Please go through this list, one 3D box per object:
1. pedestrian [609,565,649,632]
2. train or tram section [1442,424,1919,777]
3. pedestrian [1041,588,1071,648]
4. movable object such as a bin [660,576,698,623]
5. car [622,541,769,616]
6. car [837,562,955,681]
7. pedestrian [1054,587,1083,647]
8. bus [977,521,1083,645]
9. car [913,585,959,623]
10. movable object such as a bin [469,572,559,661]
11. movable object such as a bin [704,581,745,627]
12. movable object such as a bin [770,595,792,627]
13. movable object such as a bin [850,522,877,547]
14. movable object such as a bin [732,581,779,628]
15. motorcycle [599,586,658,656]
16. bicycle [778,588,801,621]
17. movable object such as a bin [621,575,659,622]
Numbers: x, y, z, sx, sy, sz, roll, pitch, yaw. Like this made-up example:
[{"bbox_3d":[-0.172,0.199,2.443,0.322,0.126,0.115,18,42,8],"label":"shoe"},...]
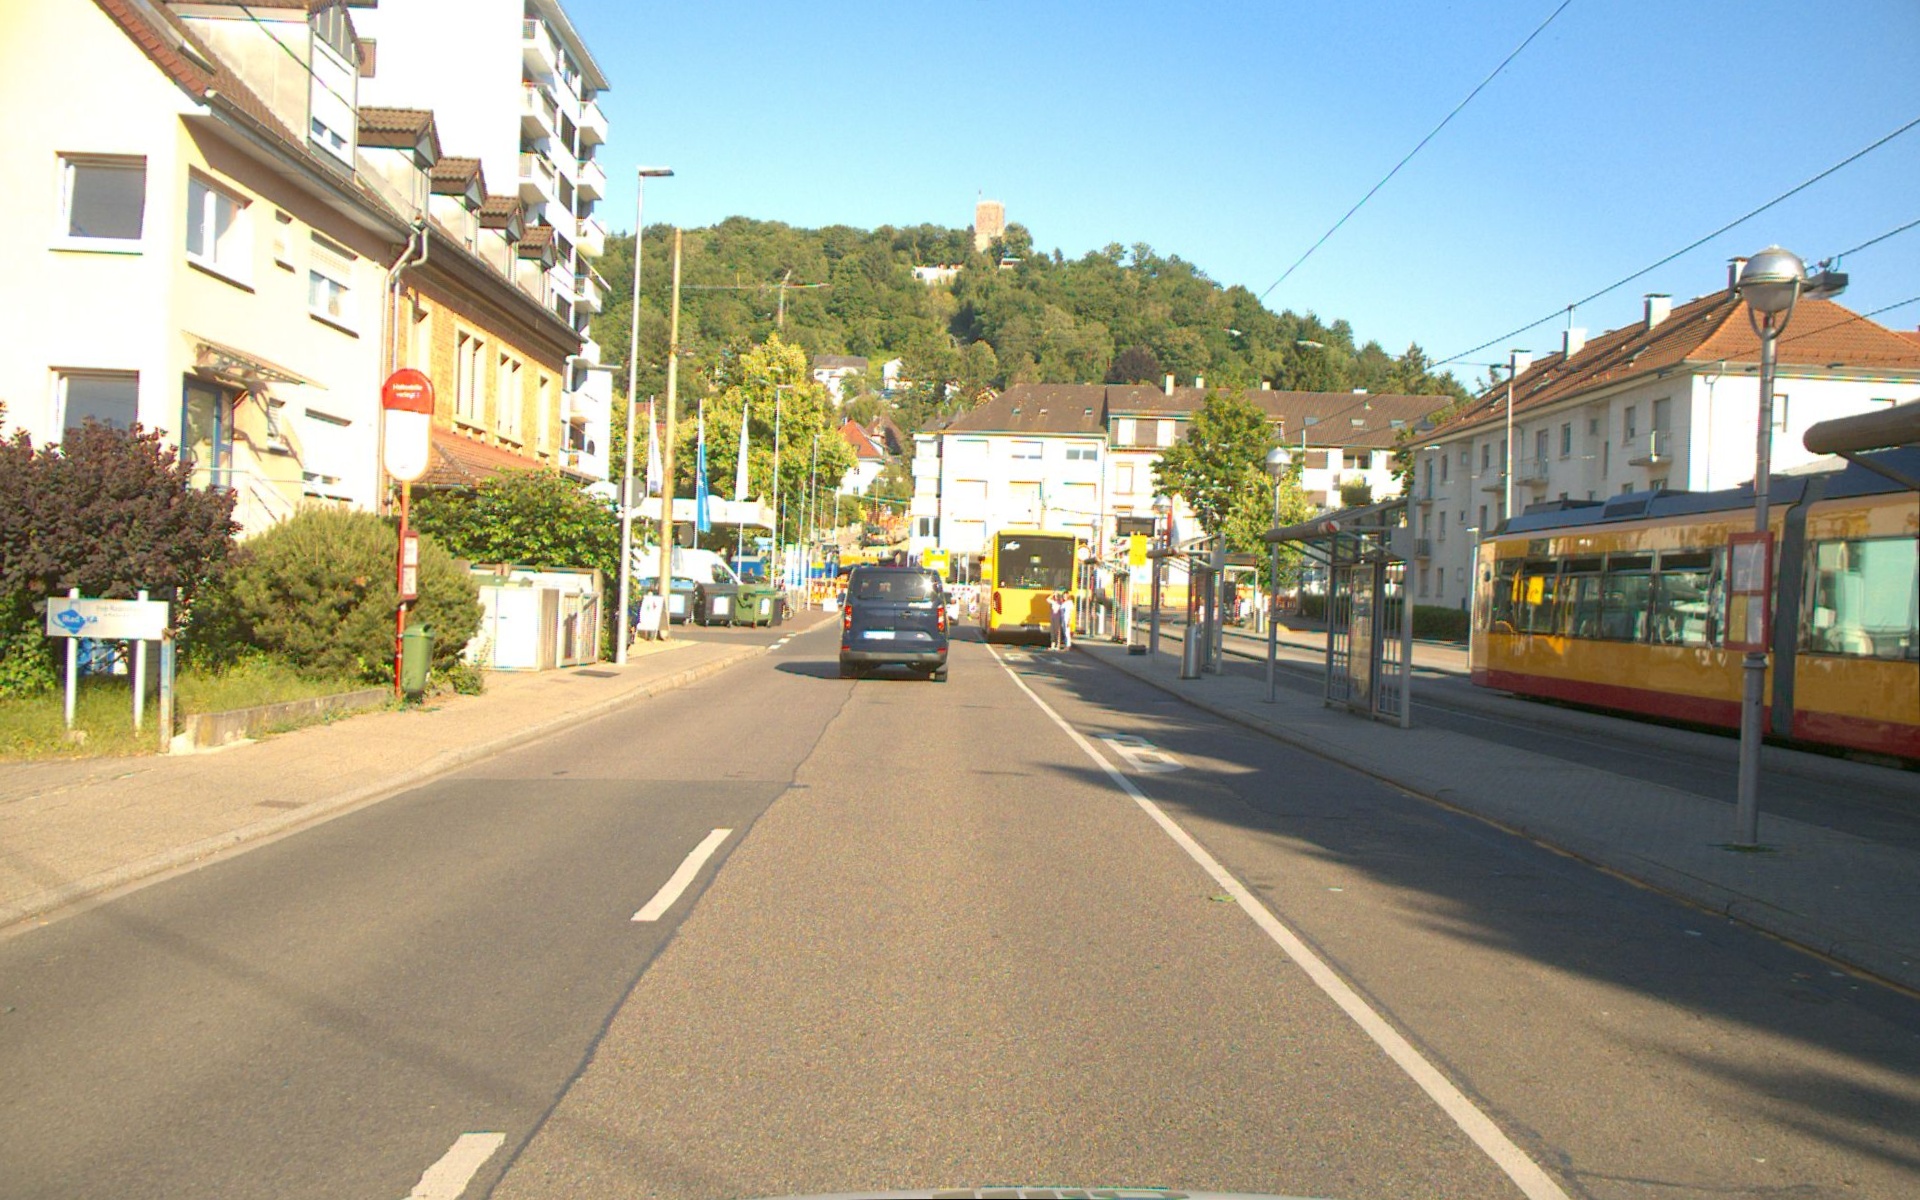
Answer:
[{"bbox_3d":[-9.658,-0.050,48.252,0.805,1.900,0.791,2,1,41],"label":"pedestrian"},{"bbox_3d":[11.075,0.076,24.534,2.897,3.596,15.965,1,0,-1],"label":"train or tram section"},{"bbox_3d":[2.675,0.509,46.129,0.540,1.641,0.627,2,0,-38],"label":"pedestrian"},{"bbox_3d":[-9.457,-0.025,55.698,1.194,1.508,0.703,2,3,-6],"label":"movable object such as a bin"},{"bbox_3d":[-9.815,-0.795,61.365,4.986,2.512,2.094,2,0,-23],"label":"car"},{"bbox_3d":[-1.143,0.353,30.930,2.020,2.049,4.999,0,0,-1],"label":"car"},{"bbox_3d":[2.990,0.474,45.723,0.540,1.641,0.542,2,0,-38],"label":"pedestrian"},{"bbox_3d":[2.068,-0.584,53.180,2.634,3.475,12.017,2,1,-1],"label":"bus"},{"bbox_3d":[-0.953,0.152,66.898,1.758,1.434,3.999,2,0,-1],"label":"car"},{"bbox_3d":[-7.582,0.269,28.154,1.282,1.454,0.991,2,0,-5],"label":"movable object such as a bin"},{"bbox_3d":[-7.985,0.139,56.067,1.205,1.508,0.697,0,4,-30],"label":"movable object such as a bin"},{"bbox_3d":[-6.361,0.379,58.742,0.626,1.088,0.581,3,4,11],"label":"movable object such as a bin"},{"bbox_3d":[-11.013,-7.484,189.265,2.144,2.737,4.004,2,1,10],"label":"movable object such as a bin"},{"bbox_3d":[-7.049,0.136,56.994,1.034,1.508,1.311,4,4,27],"label":"movable object such as a bin"},{"bbox_3d":[-6.606,0.404,33.054,0.822,1.304,2.230,3,0,-4],"label":"motorcycle"},{"bbox_3d":[-6.577,0.172,63.763,0.710,1.198,1.777,2,0,-10],"label":"bicycle"},{"bbox_3d":[-10.760,-0.049,55.582,1.155,1.508,0.703,2,3,-6],"label":"movable object such as a bin"}]
